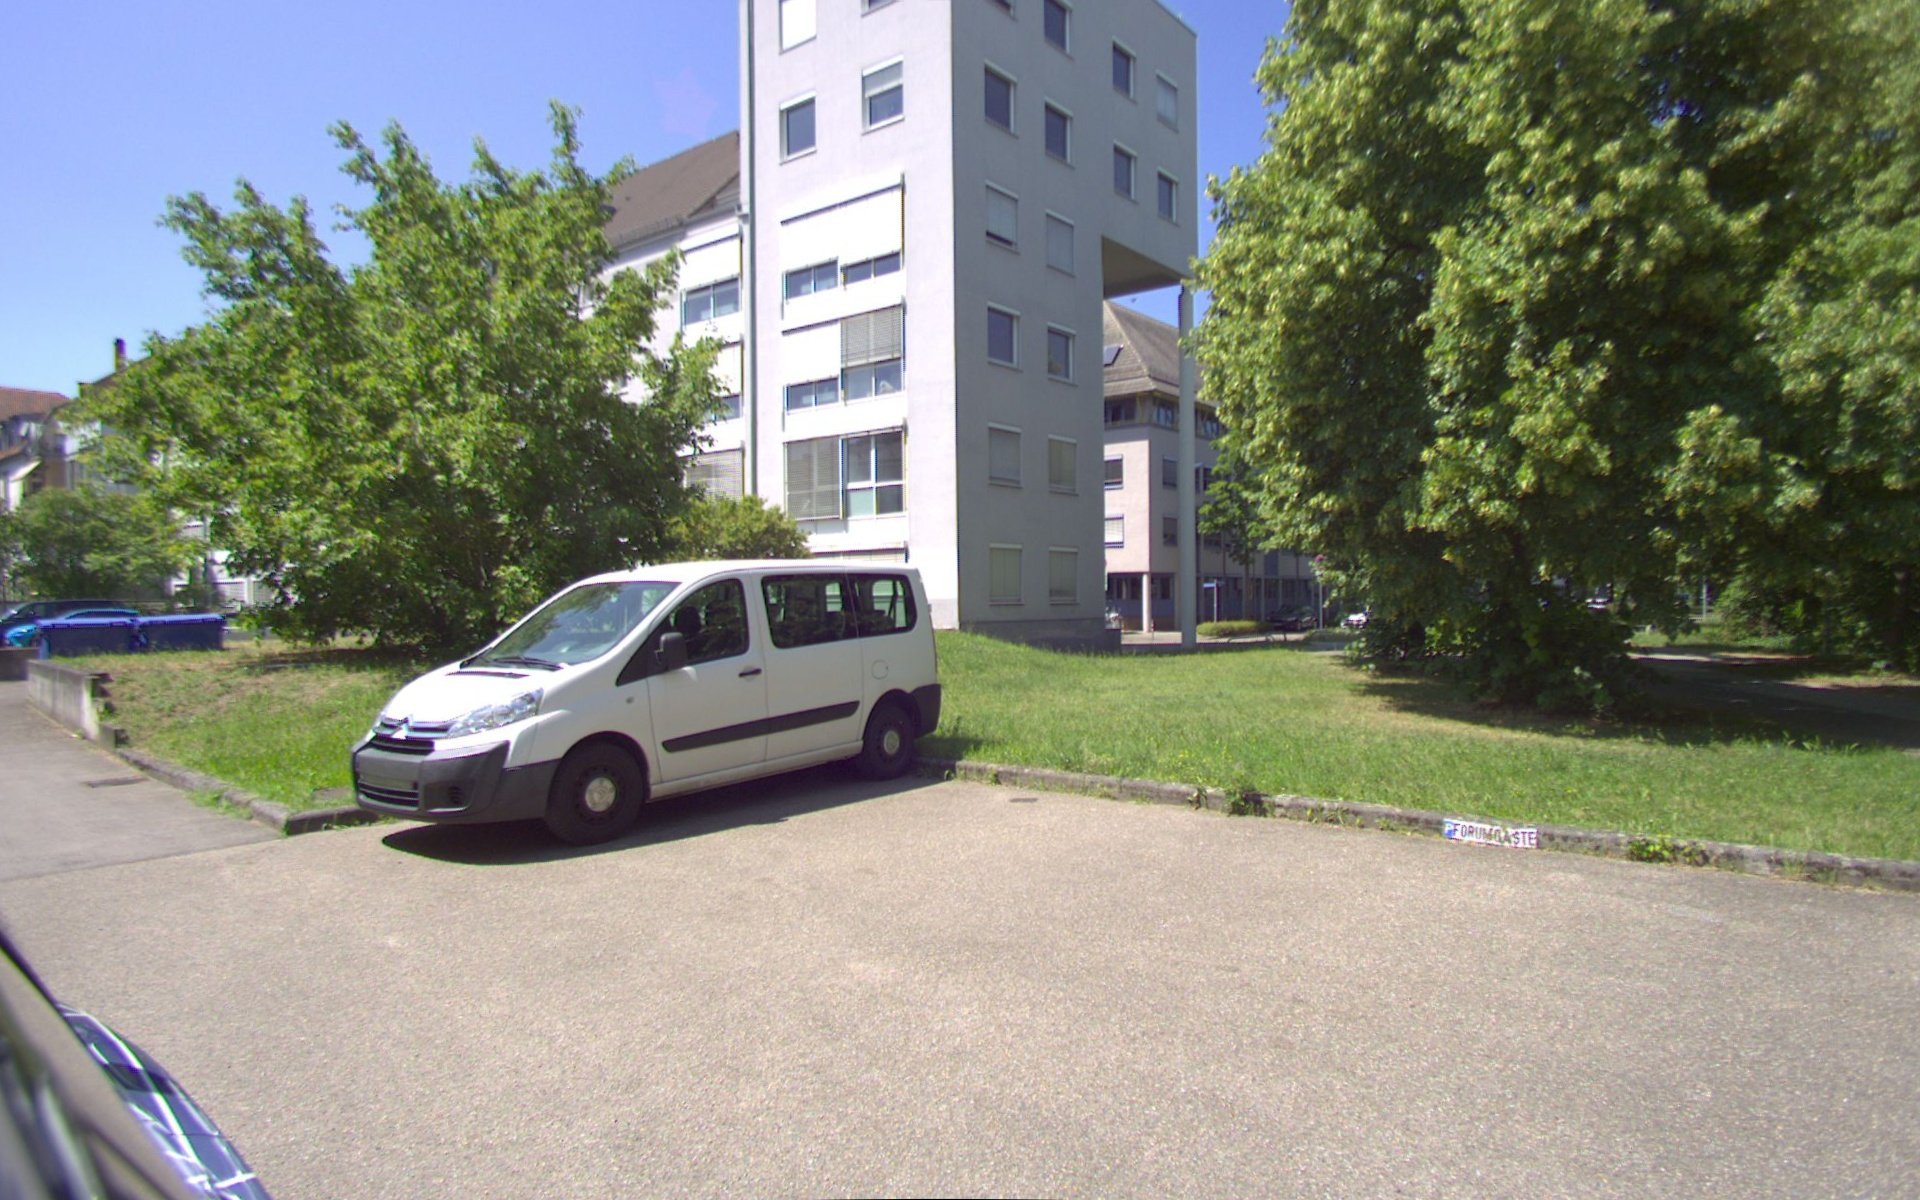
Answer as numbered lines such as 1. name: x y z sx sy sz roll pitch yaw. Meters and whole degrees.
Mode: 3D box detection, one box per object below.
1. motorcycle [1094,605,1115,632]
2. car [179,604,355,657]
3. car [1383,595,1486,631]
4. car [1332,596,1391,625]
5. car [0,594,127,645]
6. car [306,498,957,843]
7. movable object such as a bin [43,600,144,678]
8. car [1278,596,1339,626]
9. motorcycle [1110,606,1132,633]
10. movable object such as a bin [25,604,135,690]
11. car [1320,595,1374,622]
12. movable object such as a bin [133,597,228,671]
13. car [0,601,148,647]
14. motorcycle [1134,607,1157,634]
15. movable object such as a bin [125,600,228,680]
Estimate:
1. motorcycle: 6.730 0.854 47.209 0.691 1.176 2.310 0 0 1
2. car: -20.192 0.844 29.620 1.708 1.447 3.950 -1 -1 37
3. car: 22.730 0.589 48.571 4.166 1.630 1.951 0 0 39
4. car: 23.648 0.583 59.547 1.975 1.630 4.114 0 0 41
5. car: -35.453 0.730 39.347 1.997 1.846 4.395 0 1 38
6. car: -2.229 0.416 8.174 1.996 1.926 4.746 -2 -1 36
7. movable object such as a bin: -15.793 0.691 18.455 1.104 1.337 1.241 -1 0 41
8. car: 20.249 0.609 58.681 1.975 1.630 4.114 0 0 41
9. motorcycle: 7.489 0.900 47.139 0.691 1.176 2.331 0 0 1
10. movable object such as a bin: -14.733 0.755 16.955 1.104 1.337 1.241 -1 0 41
11. car: 24.385 0.489 63.699 1.975 1.630 4.115 0 0 40
12. movable object such as a bin: -14.984 0.632 19.468 1.104 1.337 1.241 -1 0 41
13. car: -33.199 0.865 37.816 1.856 1.565 4.119 -1 0 36
14. motorcycle: 8.606 0.931 46.963 0.691 1.176 2.331 0 0 1
15. movable object such as a bin: -13.895 0.683 17.956 1.104 1.337 1.241 -1 0 41
